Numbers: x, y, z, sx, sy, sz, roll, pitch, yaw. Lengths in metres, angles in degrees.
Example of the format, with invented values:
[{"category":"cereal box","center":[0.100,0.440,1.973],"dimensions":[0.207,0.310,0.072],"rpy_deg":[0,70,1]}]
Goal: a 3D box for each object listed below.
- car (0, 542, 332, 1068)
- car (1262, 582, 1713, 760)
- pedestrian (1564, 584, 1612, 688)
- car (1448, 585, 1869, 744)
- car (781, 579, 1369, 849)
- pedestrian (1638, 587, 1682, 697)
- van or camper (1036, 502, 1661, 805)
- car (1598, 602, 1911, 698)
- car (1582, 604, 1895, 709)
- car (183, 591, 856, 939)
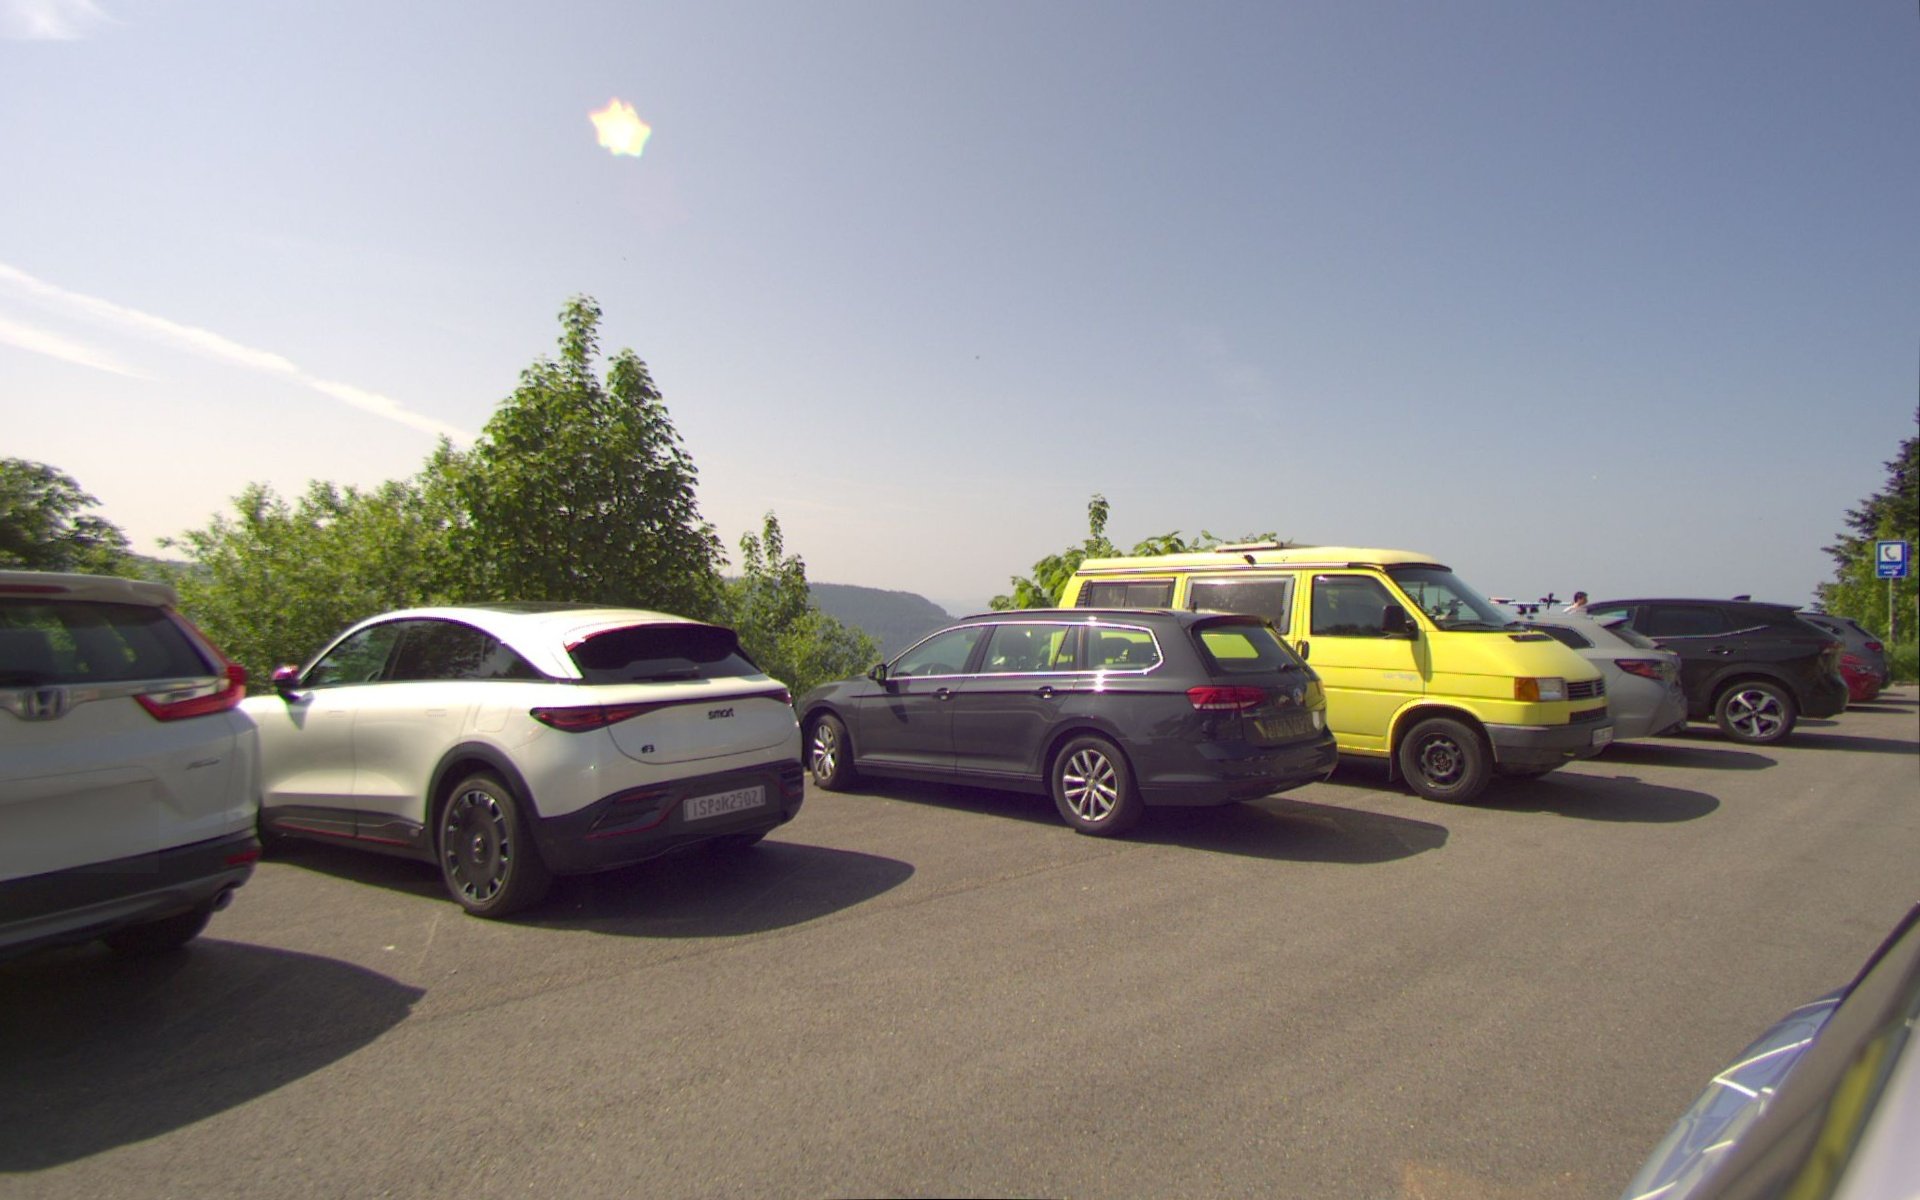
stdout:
[{"category":"car","center":[-4.886,0.714,4.219],"dimensions":[4.139,1.671,1.876],"rpy_deg":[-2,-1,24]},{"category":"car","center":[5.663,0.660,11.205],"dimensions":[4.149,1.609,1.678],"rpy_deg":[-1,-1,43]},{"category":"pedestrian","center":[11.882,0.672,19.141],"dimensions":[0.608,1.924,0.668],"rpy_deg":[-2,-2,42]},{"category":"car","center":[8.339,0.678,12.369],"dimensions":[3.979,1.634,1.889],"rpy_deg":[0,-1,39]},{"category":"car","center":[0.623,0.718,7.827],"dimensions":[4.350,1.507,1.783],"rpy_deg":[-3,-3,44]},{"category":"pedestrian","center":[11.336,0.674,16.402],"dimensions":[0.501,1.747,0.561],"rpy_deg":[-2,-2,31]},{"category":"van or camper","center":[3.180,0.450,9.352],"dimensions":[1.849,2.040,5.096],"rpy_deg":[1,-3,-42]},{"category":"car","center":[14.618,0.873,18.914],"dimensions":[4.386,1.589,1.881],"rpy_deg":[-1,-2,38]},{"category":"car","center":[12.779,0.863,16.951],"dimensions":[3.973,1.529,1.819],"rpy_deg":[0,-1,35]},{"category":"car","center":[-2.843,0.732,6.334],"dimensions":[4.067,1.519,1.922],"rpy_deg":[-1,0,32]}]
